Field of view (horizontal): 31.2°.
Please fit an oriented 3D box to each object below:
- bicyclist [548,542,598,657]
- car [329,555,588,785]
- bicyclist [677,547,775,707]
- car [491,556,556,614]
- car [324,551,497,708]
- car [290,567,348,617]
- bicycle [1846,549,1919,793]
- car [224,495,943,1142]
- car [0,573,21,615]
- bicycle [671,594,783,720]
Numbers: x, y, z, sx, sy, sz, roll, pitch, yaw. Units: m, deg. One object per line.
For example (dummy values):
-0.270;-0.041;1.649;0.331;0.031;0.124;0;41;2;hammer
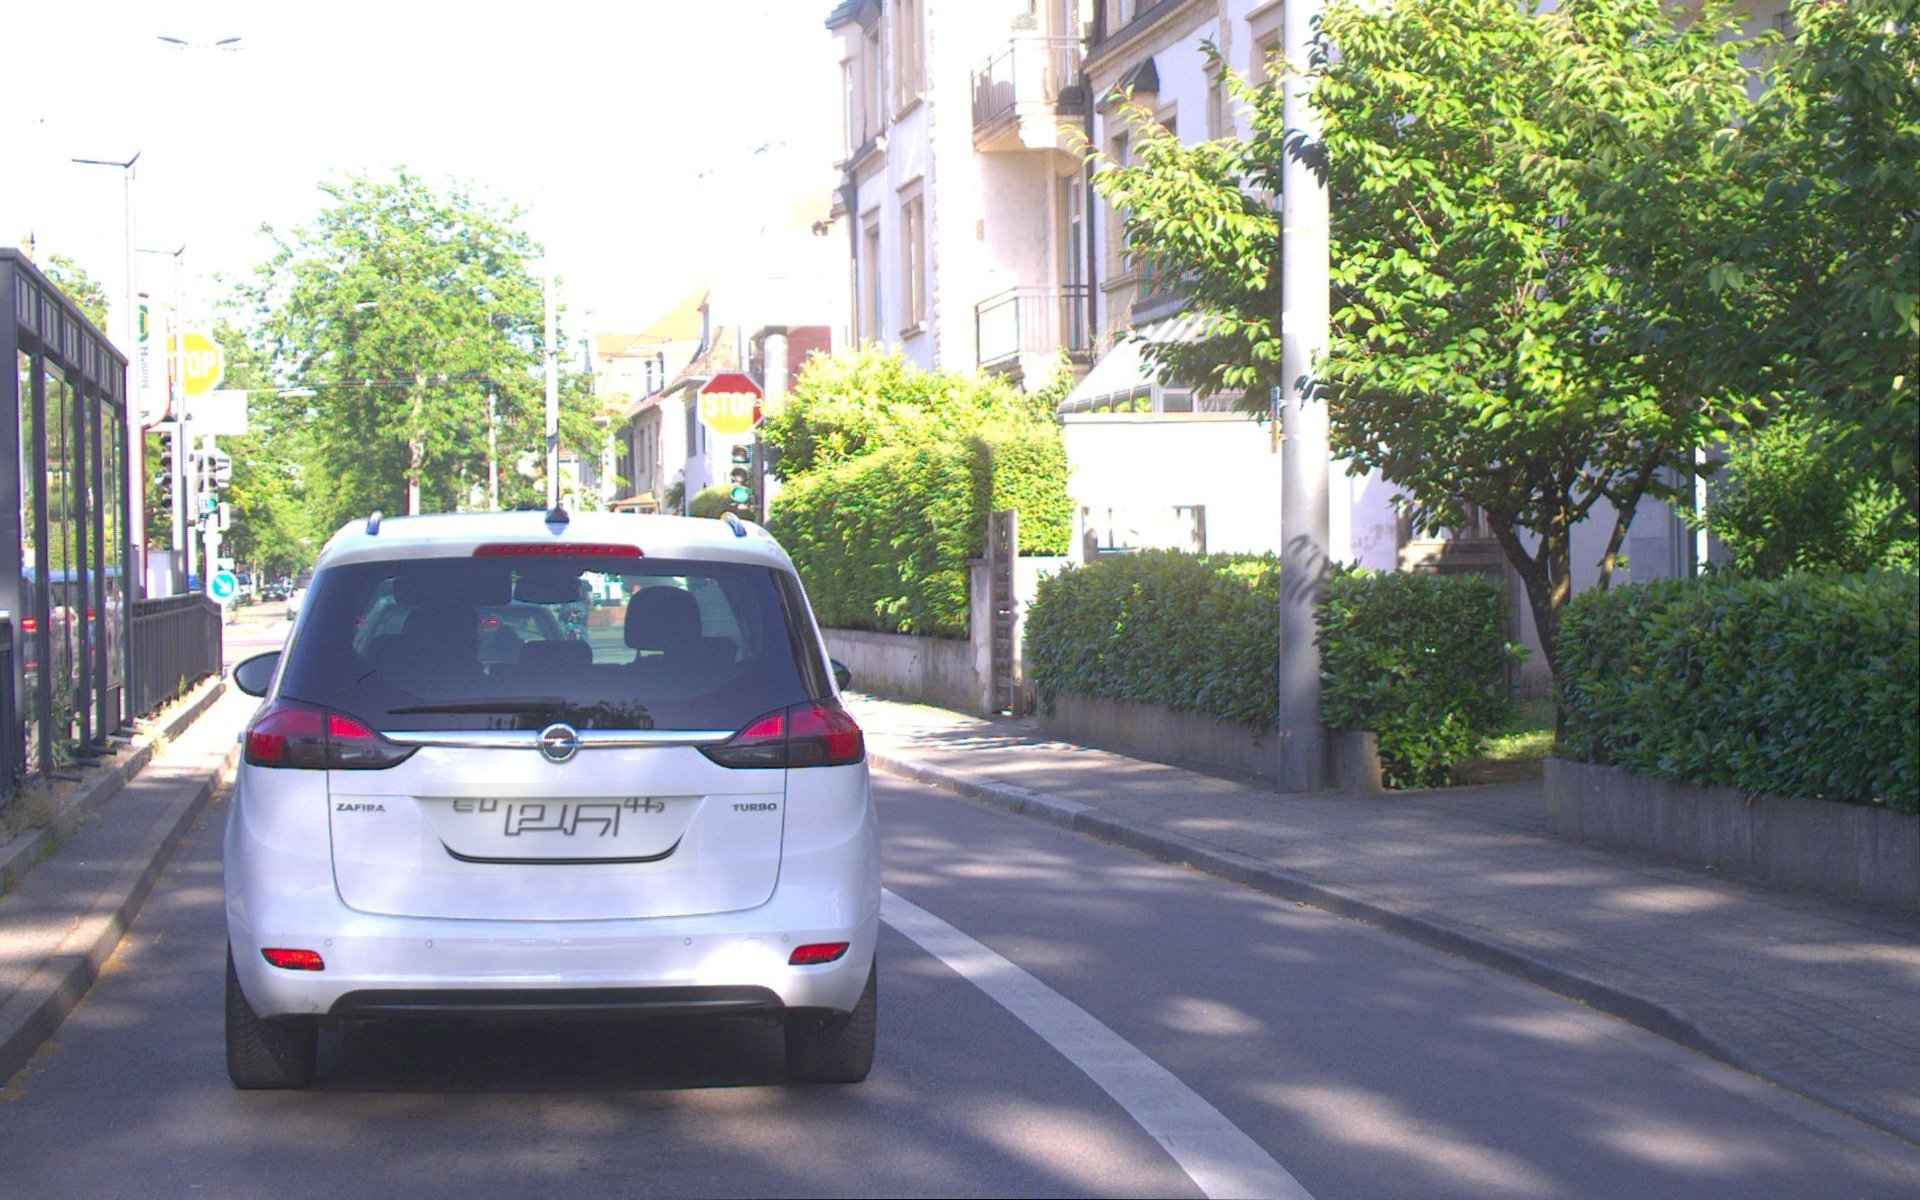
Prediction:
-5.526;-0.008;49.076;0.685;1.629;1.016;0;0;-7;bicyclist
-3.433;0.413;23.643;1.586;1.415;3.901;-1;1;-8;car
-2.235;0.248;32.764;0.821;1.496;0.934;0;0;-10;bicyclist
-12.476;-0.420;98.193;1.775;1.626;3.881;0;0;-8;car
-6.078;0.297;37.901;1.775;1.626;3.881;0;0;-10;car
-22.144;-0.272;118.788;1.775;1.687;3.881;0;0;-8;car
5.620;0.296;17.615;1.840;1.199;0.825;-4;1;-10;bicycle
-1.270;0.544;10.790;1.834;1.636;3.919;0;0;-9;car
-37.602;-0.224;132.903;1.993;1.590;4.001;0;0;-7;car
-2.236;0.526;32.795;0.829;1.150;2.095;0;0;-10;bicycle
